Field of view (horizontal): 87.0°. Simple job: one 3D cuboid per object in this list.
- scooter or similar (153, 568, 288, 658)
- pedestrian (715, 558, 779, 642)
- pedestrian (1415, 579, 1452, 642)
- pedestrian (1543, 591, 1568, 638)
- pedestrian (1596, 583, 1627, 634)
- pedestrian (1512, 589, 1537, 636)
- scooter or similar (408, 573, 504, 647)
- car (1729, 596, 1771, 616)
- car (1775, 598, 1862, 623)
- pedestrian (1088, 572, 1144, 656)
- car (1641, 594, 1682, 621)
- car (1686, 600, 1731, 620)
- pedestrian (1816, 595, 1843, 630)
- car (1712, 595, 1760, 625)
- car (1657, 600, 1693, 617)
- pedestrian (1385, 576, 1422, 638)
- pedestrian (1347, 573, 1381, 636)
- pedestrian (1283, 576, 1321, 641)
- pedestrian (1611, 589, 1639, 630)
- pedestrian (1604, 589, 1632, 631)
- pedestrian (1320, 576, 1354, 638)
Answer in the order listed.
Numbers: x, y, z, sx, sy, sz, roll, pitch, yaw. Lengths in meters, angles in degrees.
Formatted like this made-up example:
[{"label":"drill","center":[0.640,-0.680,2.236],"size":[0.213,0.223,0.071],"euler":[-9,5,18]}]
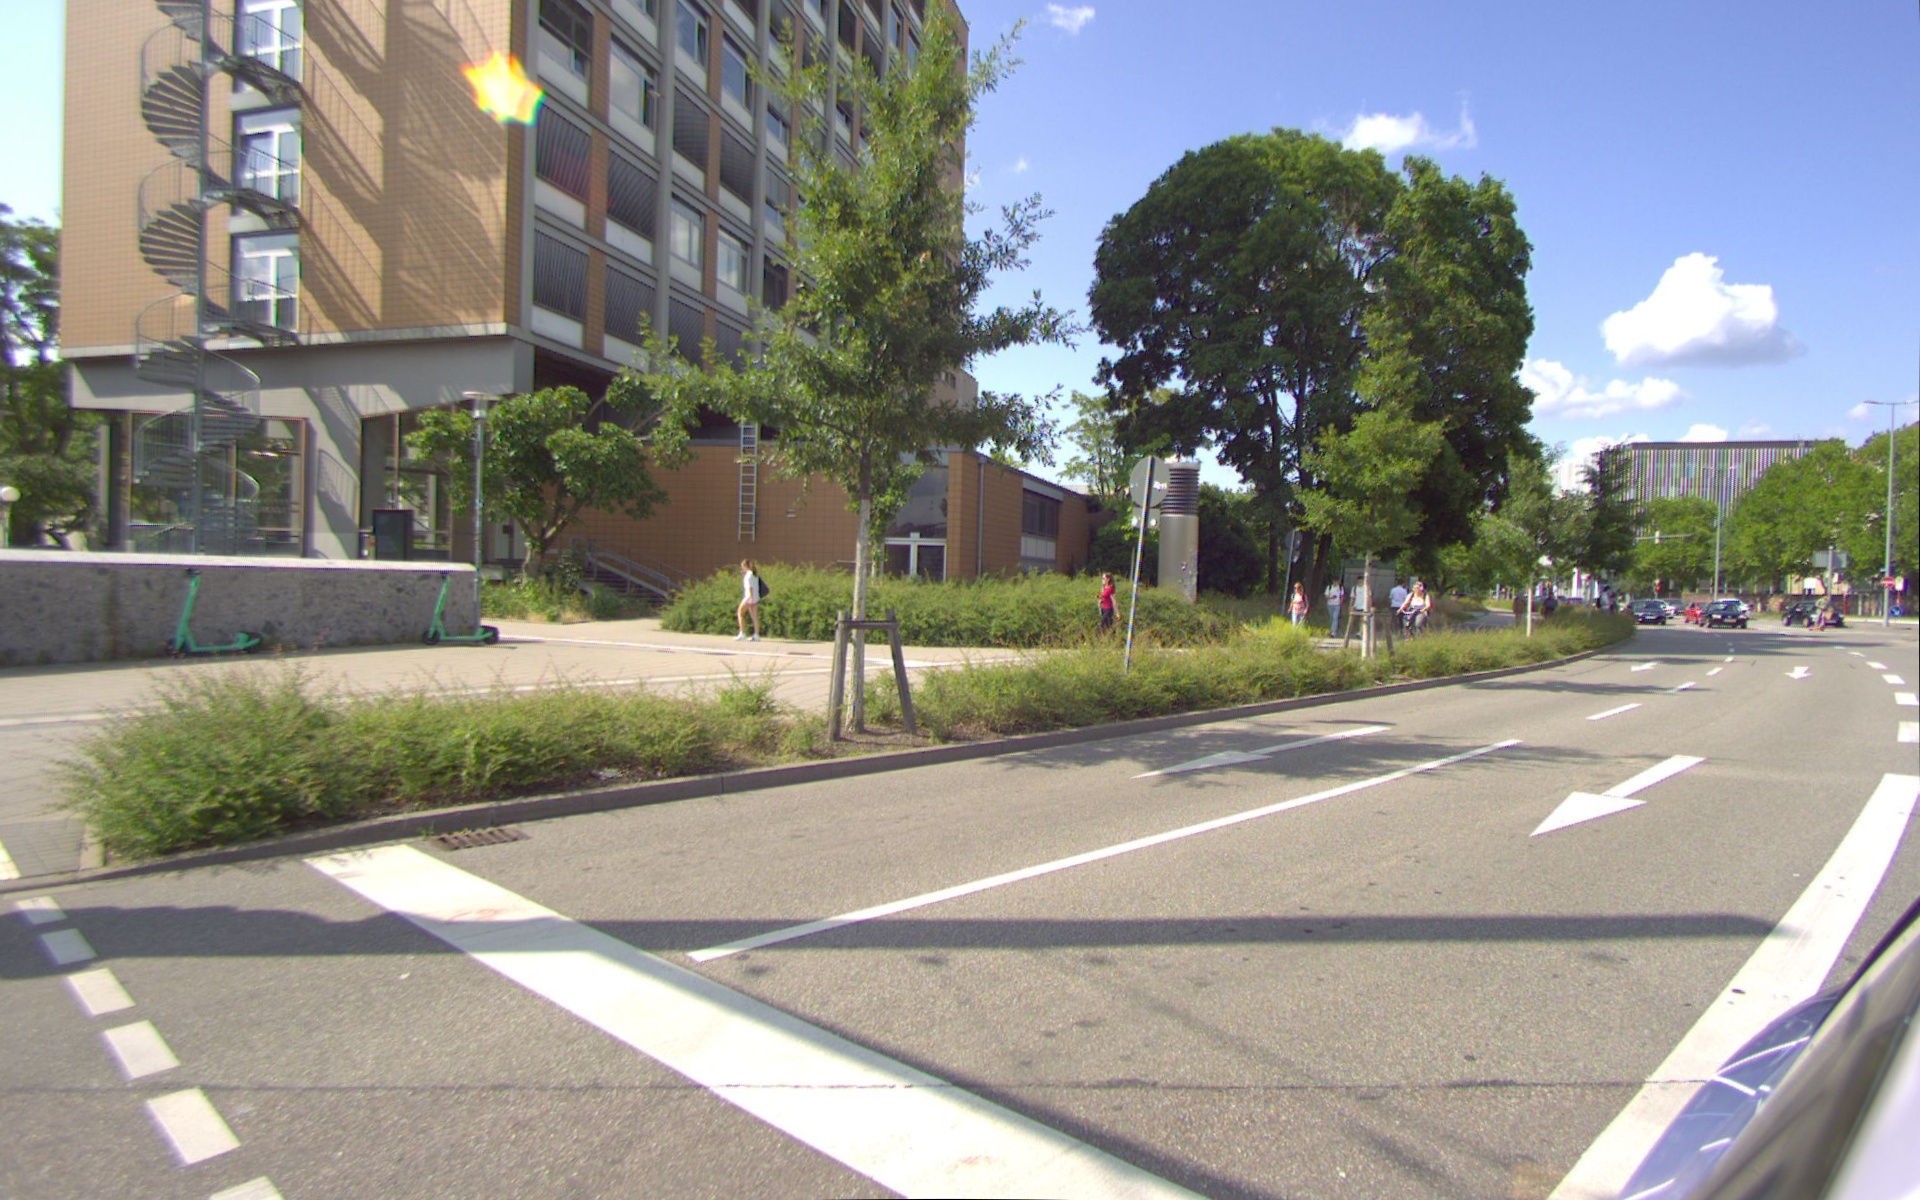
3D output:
[{"label":"scooter or similar","center":[-9.997,0.160,13.733],"size":[0.461,1.132,1.436],"euler":[3,1,22]},{"label":"pedestrian","center":[-4.380,-0.023,20.816],"size":[1.081,1.642,0.613],"euler":[3,3,16]},{"label":"pedestrian","center":[13.863,0.282,29.621],"size":[0.740,1.775,0.878],"euler":[5,3,36]},{"label":"pedestrian","center":[22.524,0.529,38.289],"size":[0.763,1.757,0.710],"euler":[-1,0,34]},{"label":"pedestrian","center":[26.664,0.348,41.394],"size":[0.961,2.039,0.757],"euler":[-1,0,40]},{"label":"pedestrian","center":[21.441,0.470,38.413],"size":[0.763,1.757,0.710],"euler":[-1,0,34]},{"label":"scooter or similar","center":[-8.146,0.157,16.384],"size":[1.293,1.118,0.466],"euler":[2,1,-3]},{"label":"car","center":[56.342,0.388,72.198],"size":[1.764,1.371,3.959],"euler":[0,1,29]},{"label":"car","center":[48.878,0.577,57.697],"size":[1.700,1.351,3.790],"euler":[0,1,-1]},{"label":"pedestrian","center":[3.173,0.272,20.612],"size":[0.872,1.642,0.617],"euler":[1,3,-31]},{"label":"car","center":[41.458,0.415,59.794],"size":[1.817,1.481,3.946],"euler":[1,1,37]},{"label":"car","center":[46.899,0.622,63.479],"size":[1.582,1.148,3.596],"euler":[1,0,26]},{"label":"pedestrian","center":[43.676,0.619,50.831],"size":[0.729,1.736,0.870],"euler":[0,0,20]},{"label":"car","center":[41.814,0.513,54.586],"size":[1.815,1.481,3.950],"euler":[1,1,34]},{"label":"car","center":[52.177,0.609,73.868],"size":[1.895,1.148,4.055],"euler":[1,0,32]},{"label":"pedestrian","center":[13.211,0.193,30.152],"size":[0.741,1.767,0.878],"euler":[5,3,37]},{"label":"pedestrian","center":[11.536,0.110,28.884],"size":[0.612,1.720,0.878],"euler":[5,3,37]},{"label":"pedestrian","center":[8.917,0.205,26.378],"size":[0.612,1.642,0.878],"euler":[5,3,37]},{"label":"pedestrian","center":[28.835,0.420,43.901],"size":[0.924,1.757,0.757],"euler":[-1,0,40]},{"label":"pedestrian","center":[28.220,0.431,43.420],"size":[0.924,1.757,0.757],"euler":[-1,0,40]},{"label":"pedestrian","center":[10.908,0.190,29.258],"size":[0.612,1.720,0.878],"euler":[5,3,37]}]
